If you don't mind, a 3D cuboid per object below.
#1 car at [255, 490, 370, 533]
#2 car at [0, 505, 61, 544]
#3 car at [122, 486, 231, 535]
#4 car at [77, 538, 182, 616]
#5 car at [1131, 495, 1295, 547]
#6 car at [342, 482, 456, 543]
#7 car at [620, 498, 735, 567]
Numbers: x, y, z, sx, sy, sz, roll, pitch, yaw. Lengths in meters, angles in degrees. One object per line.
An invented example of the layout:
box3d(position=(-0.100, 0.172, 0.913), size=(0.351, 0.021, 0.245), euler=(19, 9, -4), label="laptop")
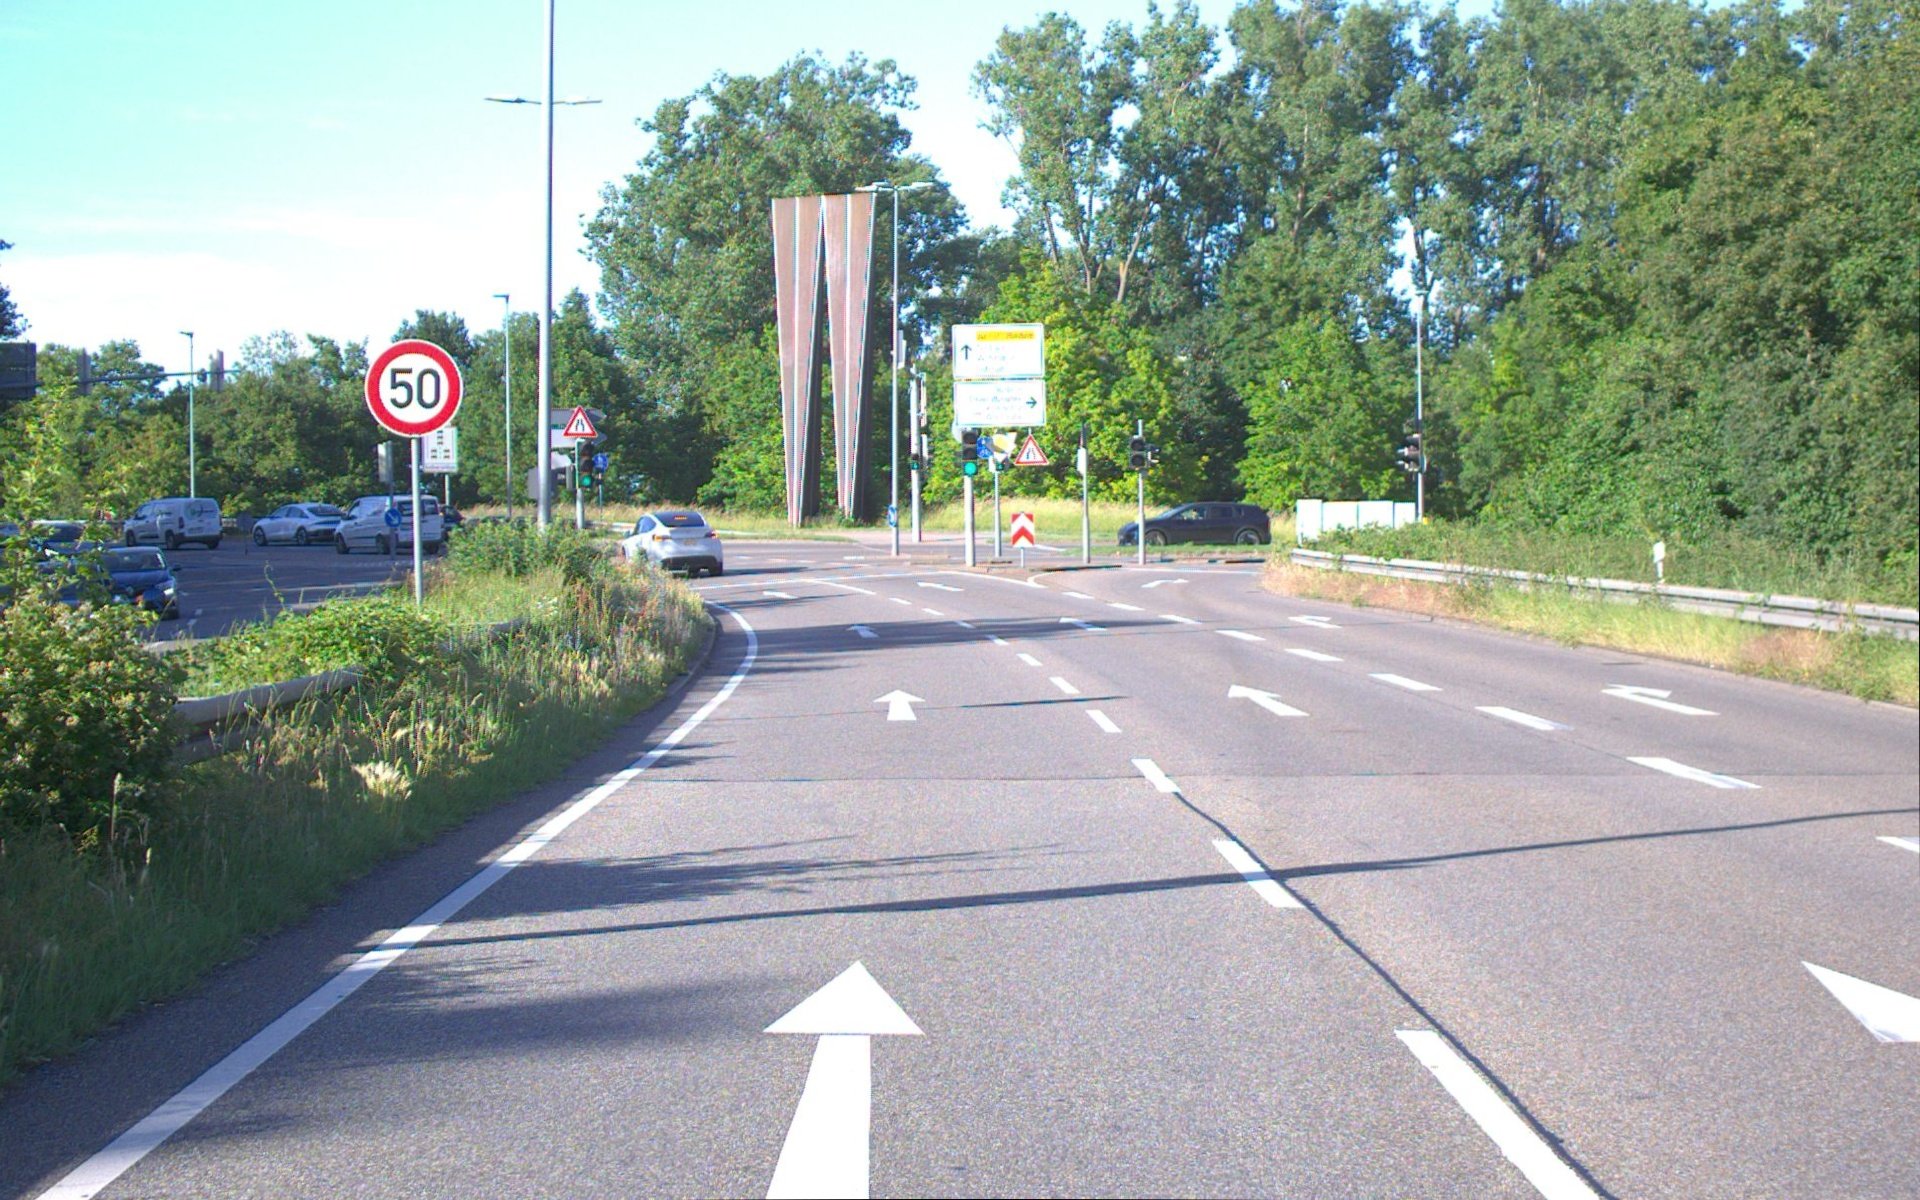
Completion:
box3d(position=(-23.031, -3.164, 122.191), size=(4.152, 1.469, 1.970), euler=(2, 4, 45), label="car")
box3d(position=(-37.686, -2.960, 136.034), size=(3.997, 1.503, 2.268), euler=(0, 2, 42), label="car")
box3d(position=(-27.854, -3.196, 122.138), size=(1.970, 1.692, 3.998), euler=(-3, 3, -44), label="car")
box3d(position=(-16.637, -0.485, 68.996), size=(1.885, 1.415, 4.366), euler=(-3, 2, -12), label="car")
box3d(position=(7.401, -2.337, 100.735), size=(4.457, 1.459, 2.001), euler=(-1, 2, -9), label="car")
box3d(position=(-17.909, -2.784, 109.562), size=(1.994, 1.873, 4.249), euler=(-2, 2, -33), label="car")
box3d(position=(-7.067, -1.699, 85.569), size=(1.993, 1.634, 4.129), euler=(-2, 2, -17), label="car")
